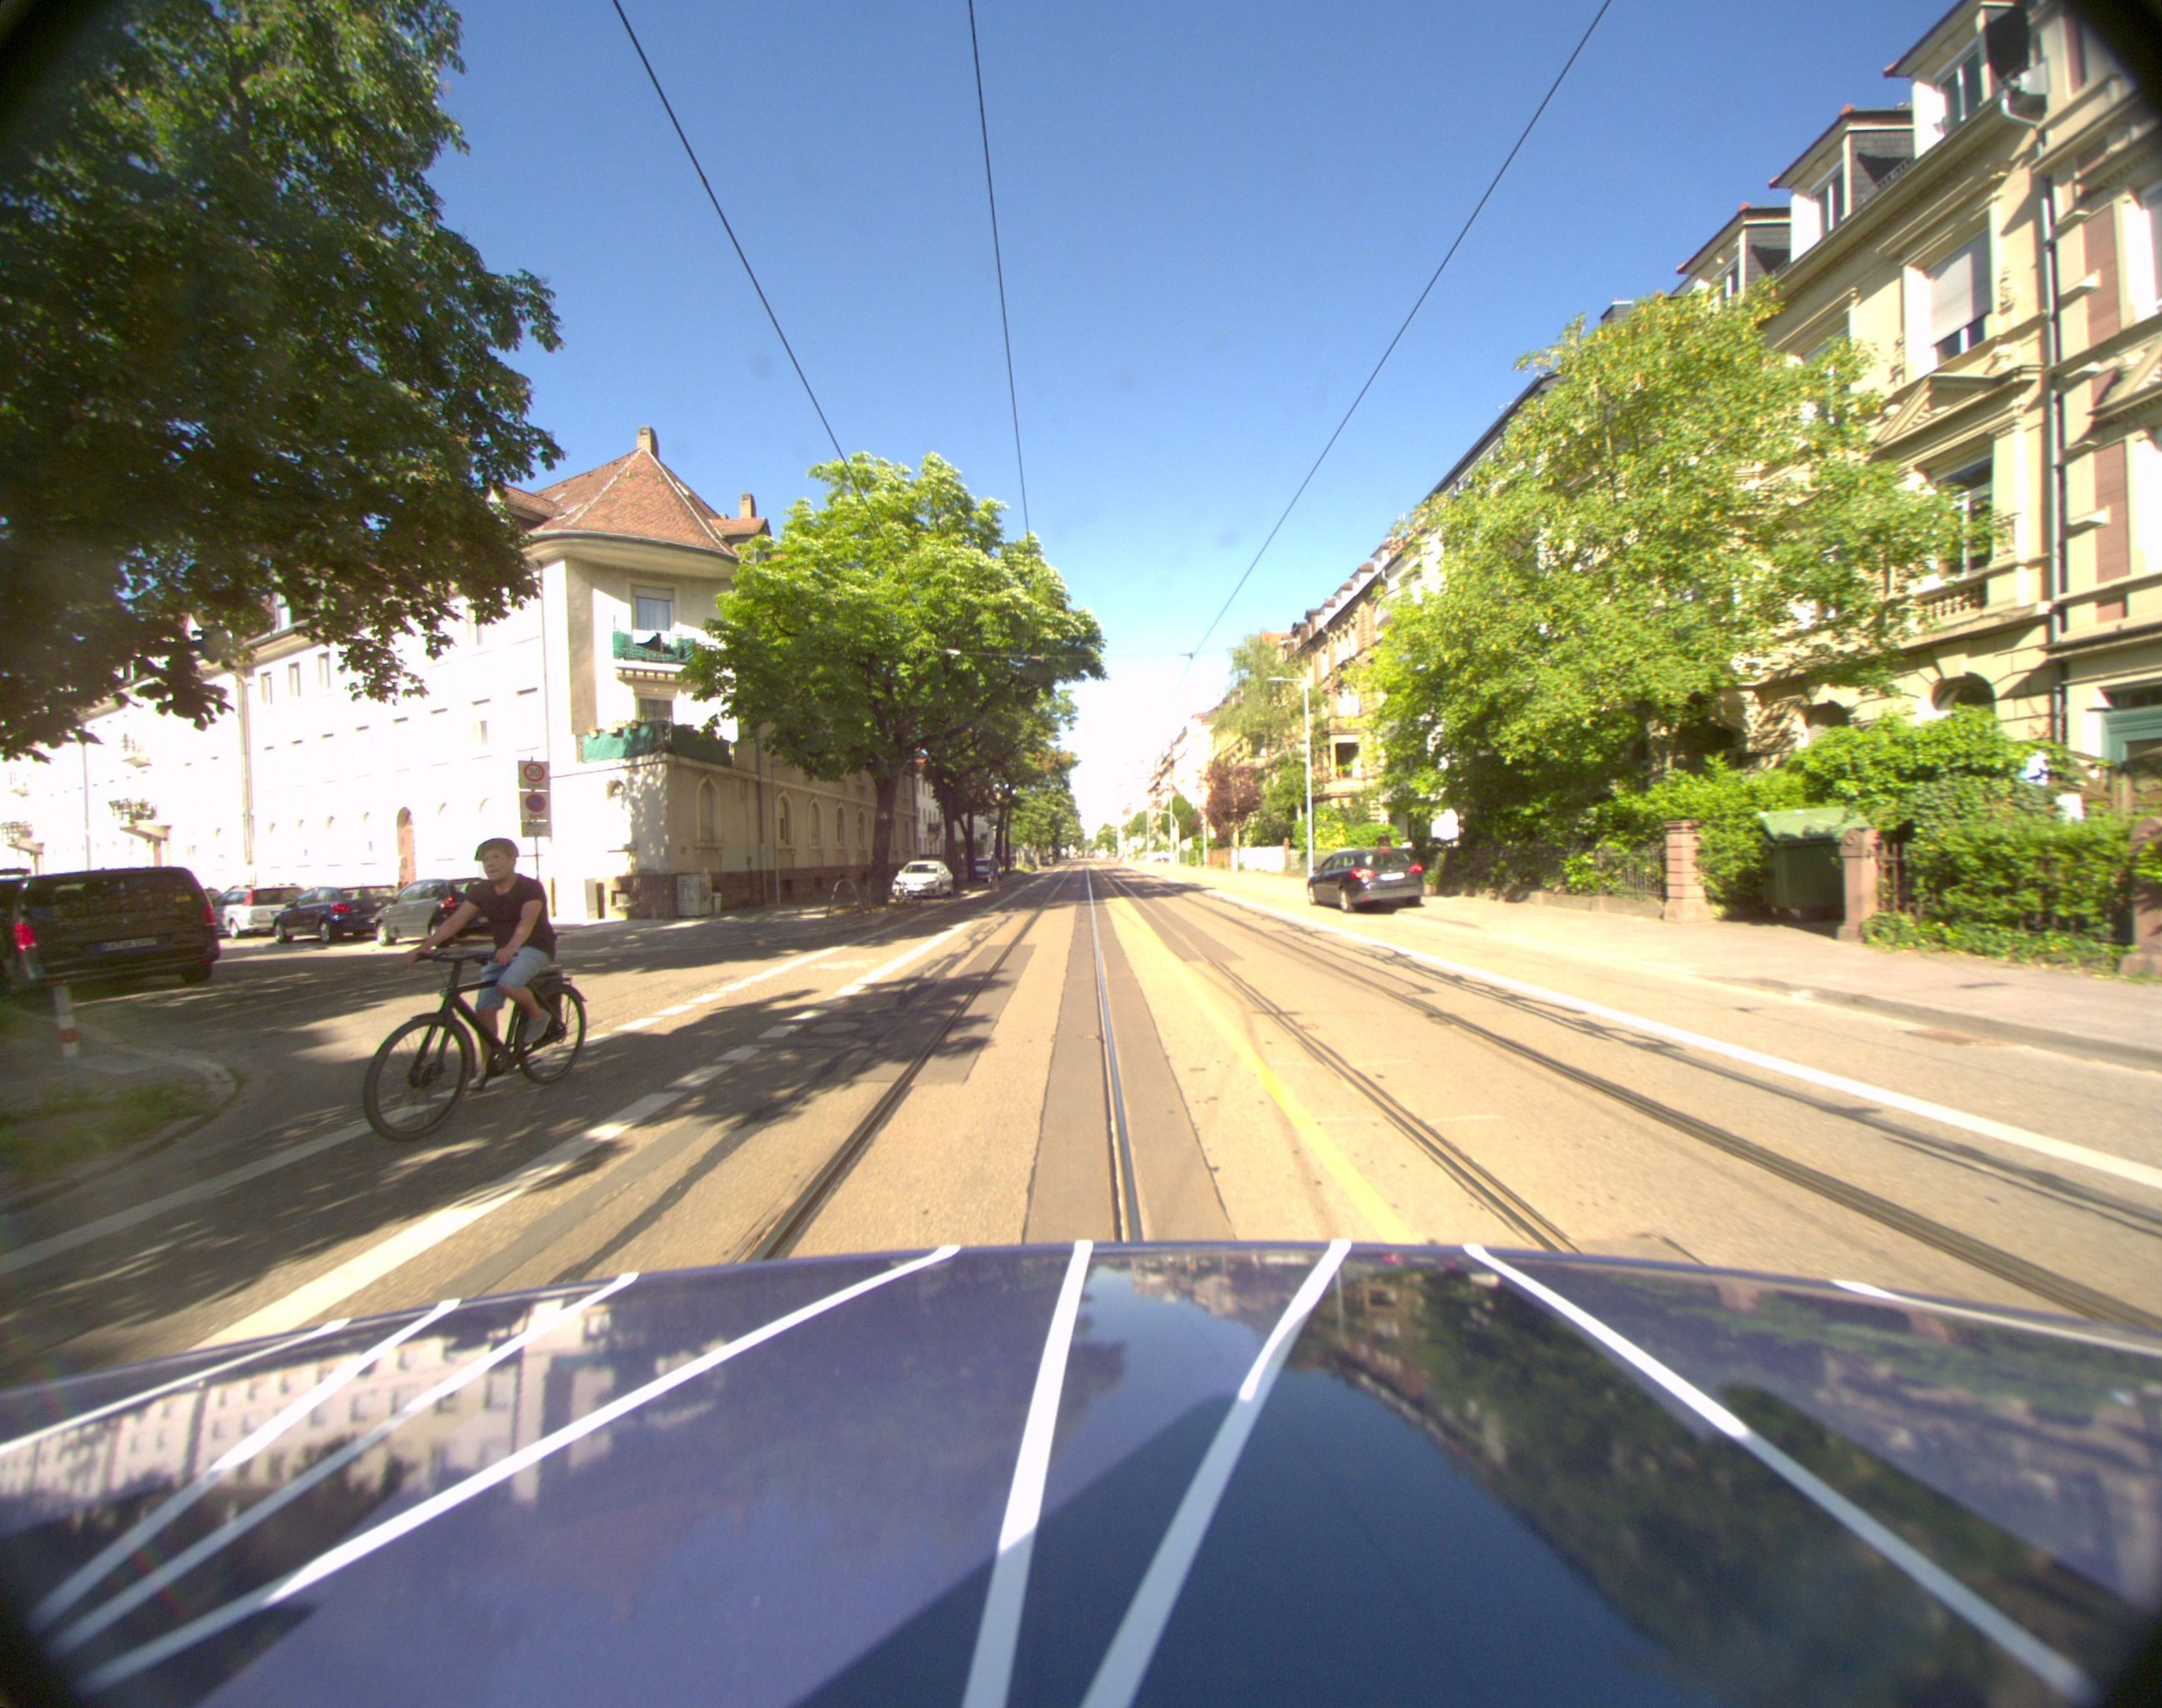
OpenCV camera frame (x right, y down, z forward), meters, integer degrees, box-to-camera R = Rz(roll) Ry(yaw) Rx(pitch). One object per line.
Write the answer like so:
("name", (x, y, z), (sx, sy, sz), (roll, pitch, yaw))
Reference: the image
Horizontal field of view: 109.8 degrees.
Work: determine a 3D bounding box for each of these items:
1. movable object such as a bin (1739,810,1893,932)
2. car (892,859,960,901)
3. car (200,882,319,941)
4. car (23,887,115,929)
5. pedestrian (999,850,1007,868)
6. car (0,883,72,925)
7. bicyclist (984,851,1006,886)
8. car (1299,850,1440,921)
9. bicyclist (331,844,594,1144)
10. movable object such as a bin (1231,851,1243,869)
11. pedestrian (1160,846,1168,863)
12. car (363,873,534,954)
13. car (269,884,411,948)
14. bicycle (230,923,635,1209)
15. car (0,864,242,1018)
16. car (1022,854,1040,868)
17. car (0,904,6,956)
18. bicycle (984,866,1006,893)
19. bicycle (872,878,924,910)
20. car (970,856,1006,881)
("movable object such as a bin", (11.271, 0.249, 11.723), (1.287, 1.721, 1.043), (-4, 1, 16))
("car", (-5.993, 0.952, 29.820), (1.705, 1.463, 4.213), (-1, 0, 1))
("car", (-23.997, 1.634, 22.181), (3.493, 1.491, 1.441), (-2, 2, 28))
("car", (-41.262, 2.181, 30.964), (3.627, 1.491, 1.642), (-2, 2, 28))
("pedestrian", (-8.782, 0.607, 85.514), (0.743, 2.002, 0.687), (-2, 1, -8))
("car", (-47.586, 2.229, 34.394), (3.847, 1.664, 1.642), (-2, 2, 28))
("bicyclist", (-3.821, 0.648, 33.840), (0.776, 1.505, 1.229), (-2, 1, -2))
("car", (7.086, 0.688, 19.239), (1.869, 1.567, 4.588), (0, 1, 1))
("bicyclist", (-3.963, 0.823, 4.983), (0.763, 1.728, 1.046), (-3, 1, 0))
("movable object such as a bin", (10.293, 0.418, 50.289), (0.590, 1.169, 0.665), (-2, 1, -4))
("pedestrian", (9.386, 0.052, 85.885), (0.809, 1.825, 0.754), (-2, 1, 9))
("car", (-14.394, 1.305, 17.290), (3.431, 1.530, 1.724), (-2, 4, 28))
("car", (-18.868, 1.535, 19.335), (3.351, 1.390, 1.575), (-2, 2, 28))
("bicycle", (-3.944, 1.187, 4.951), (0.763, 1.235, 2.096), (-3, 0, 0))
("car", (-15.656, 1.221, 11.887), (5.054, 1.880, 2.003), (-2, 3, 27))
("car", (-5.445, 0.707, 82.682), (1.761, 1.458, 4.613), (-1, 0, -2))
("car", (-28.858, 1.798, 18.737), (4.608, 1.601, 1.938), (-2, 3, 27))
("bicycle", (-3.807, 1.109, 33.841), (0.776, 1.080, 2.058), (-2, 0, -2))
("bicycle", (-5.883, 1.270, 24.524), (1.570, 0.974, 0.640), (-1, 1, -8))
("car", (-5.854, 0.861, 48.092), (1.824, 1.475, 4.748), (-1, 0, -2))
